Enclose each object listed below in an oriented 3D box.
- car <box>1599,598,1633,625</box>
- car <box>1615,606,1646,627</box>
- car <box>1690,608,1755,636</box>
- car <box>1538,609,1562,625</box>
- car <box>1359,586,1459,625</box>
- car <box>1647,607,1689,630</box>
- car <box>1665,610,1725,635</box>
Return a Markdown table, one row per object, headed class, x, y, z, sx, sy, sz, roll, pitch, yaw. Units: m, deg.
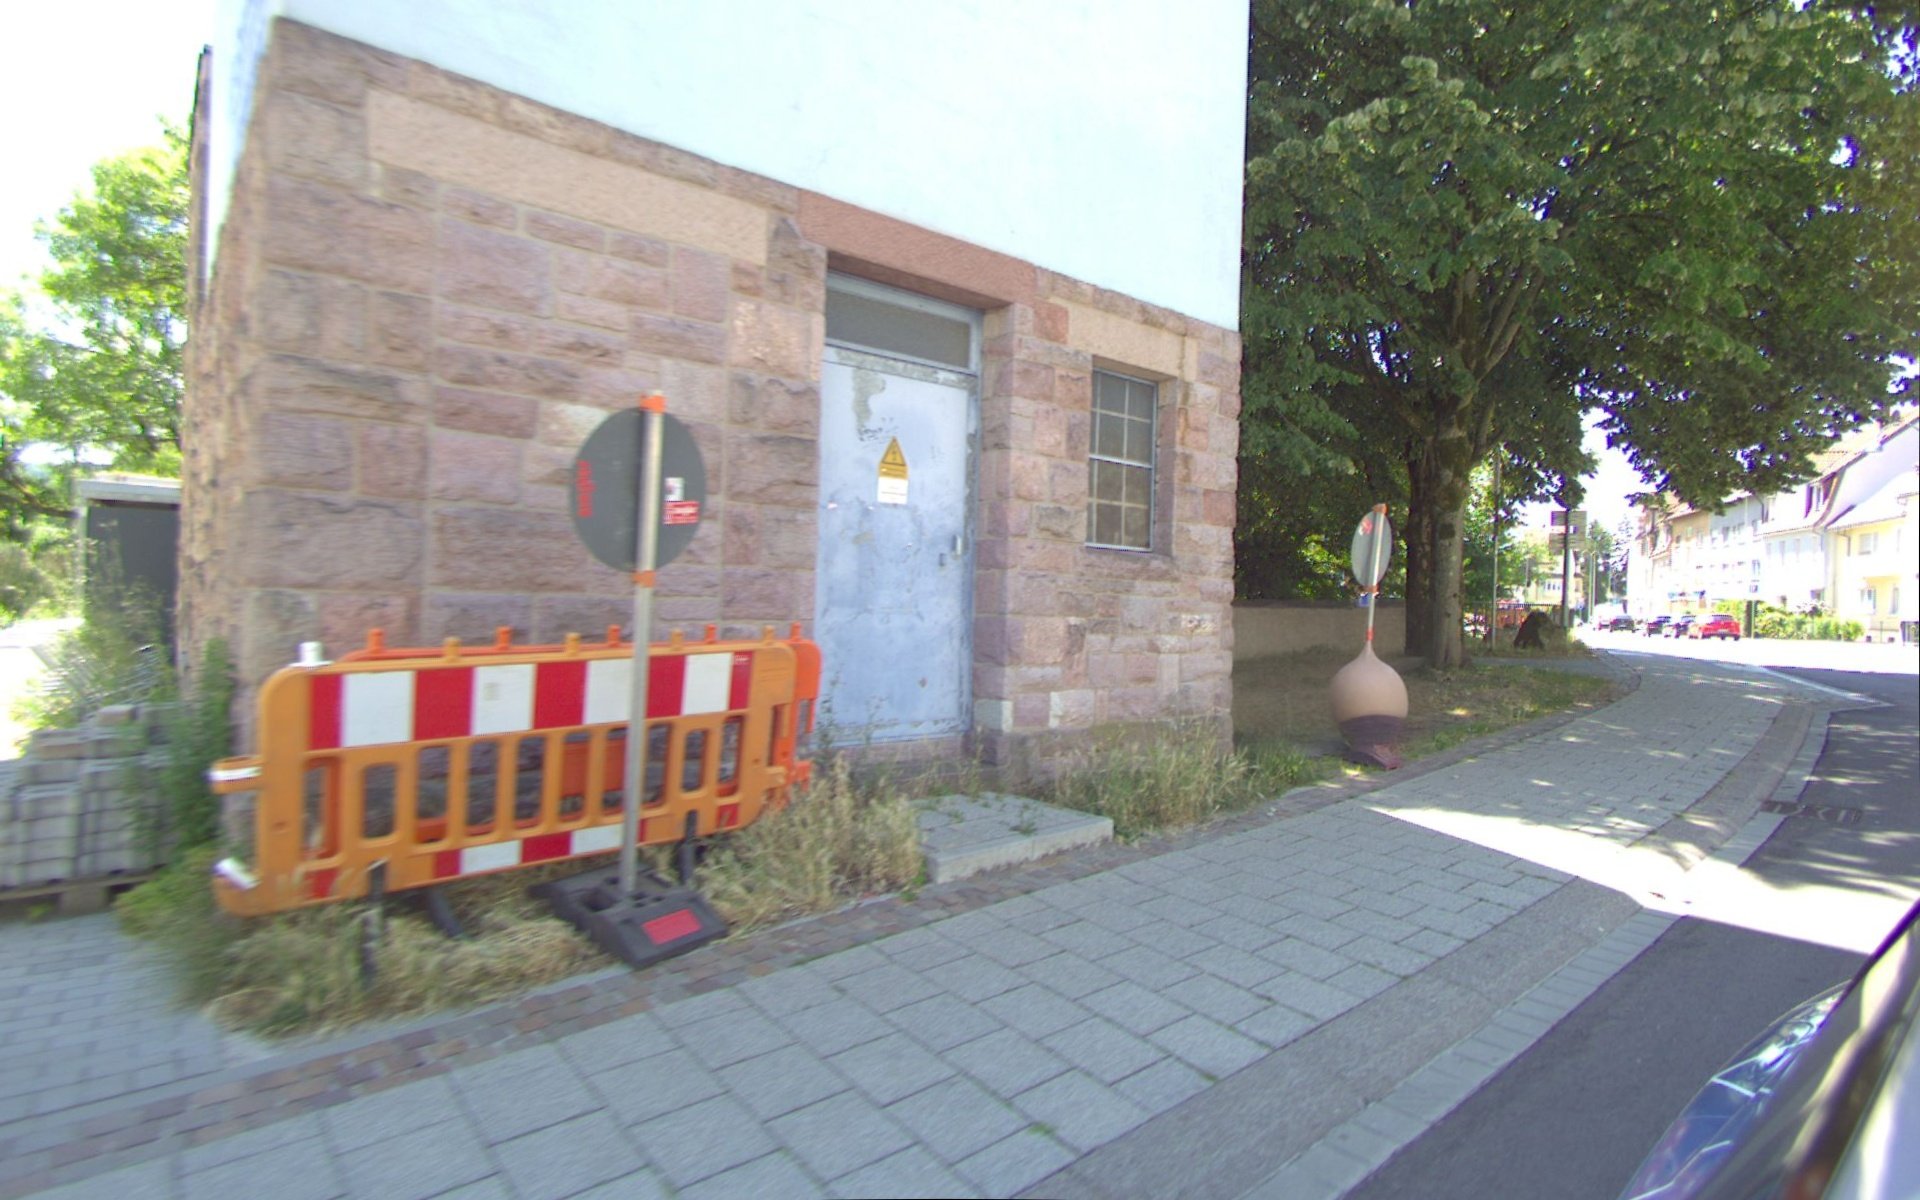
| class | x | y | z | sx | sy | sz | roll | pitch | yaw |
| --- | --- | --- | --- | --- | --- | --- | --- | --- | --- |
| car | 61.862 | 1.099 | 95.489 | 2.106 | 2.481 | 6.057 | 0 | -1 | 28 |
| car | 56.806 | 1.409 | 85.767 | 2.077 | 1.635 | 5.046 | 0 | -1 | 34 |
| car | 42.629 | 1.201 | 56.697 | 1.863 | 1.499 | 4.697 | -1 | -1 | 24 |
| car | 65.560 | 1.864 | 112.527 | 1.866 | 1.617 | 4.319 | 3 | 1 | 26 |
| car | 21.957 | 0.261 | 49.639 | 4.292 | 1.862 | 1.741 | 0 | 0 | 17 |
| car | 47.211 | 1.272 | 67.572 | 1.777 | 1.478 | 4.155 | -1 | -2 | 28 |
| car | 44.982 | 1.364 | 62.059 | 1.849 | 1.480 | 5.262 | 0 | -1 | 24 |
